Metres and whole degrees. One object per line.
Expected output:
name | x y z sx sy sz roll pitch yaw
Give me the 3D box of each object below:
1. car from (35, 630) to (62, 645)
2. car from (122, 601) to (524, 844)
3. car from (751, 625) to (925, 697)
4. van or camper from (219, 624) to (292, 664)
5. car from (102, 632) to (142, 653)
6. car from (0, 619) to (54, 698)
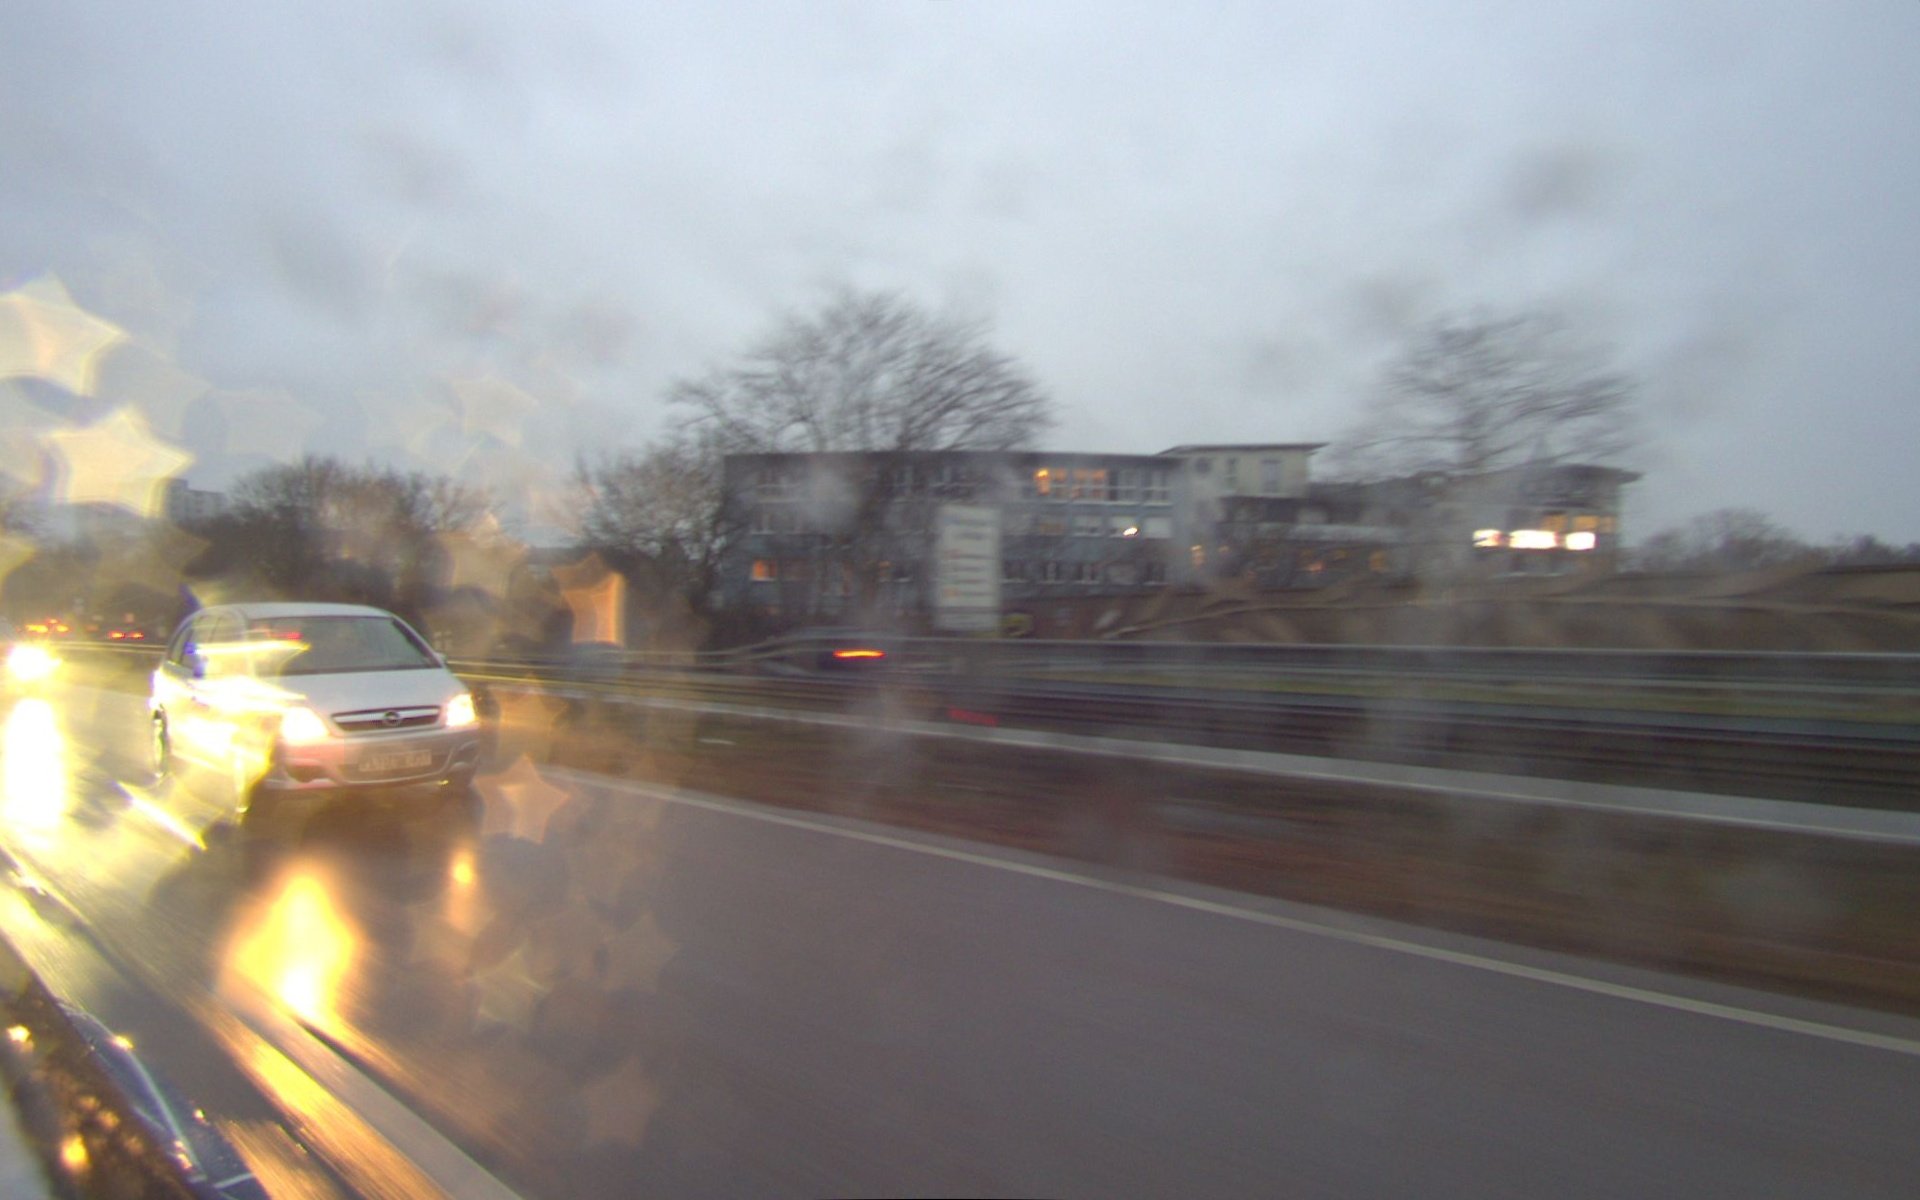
car | -107.955 4.438 119.897 4.679 1.621 1.765 -1 -1 41
car | -5.620 0.842 8.728 4.161 1.611 1.743 -1 -1 40
car | -2.688 1.254 21.932 3.636 1.420 1.737 -1 -1 40
van or camper | -28.128 1.715 40.358 4.434 1.493 1.510 -1 -1 43
car | -65.802 3.305 79.457 4.049 1.545 1.765 -1 -1 40
car | -20.509 1.160 20.945 4.141 1.542 2.002 -1 -1 39
